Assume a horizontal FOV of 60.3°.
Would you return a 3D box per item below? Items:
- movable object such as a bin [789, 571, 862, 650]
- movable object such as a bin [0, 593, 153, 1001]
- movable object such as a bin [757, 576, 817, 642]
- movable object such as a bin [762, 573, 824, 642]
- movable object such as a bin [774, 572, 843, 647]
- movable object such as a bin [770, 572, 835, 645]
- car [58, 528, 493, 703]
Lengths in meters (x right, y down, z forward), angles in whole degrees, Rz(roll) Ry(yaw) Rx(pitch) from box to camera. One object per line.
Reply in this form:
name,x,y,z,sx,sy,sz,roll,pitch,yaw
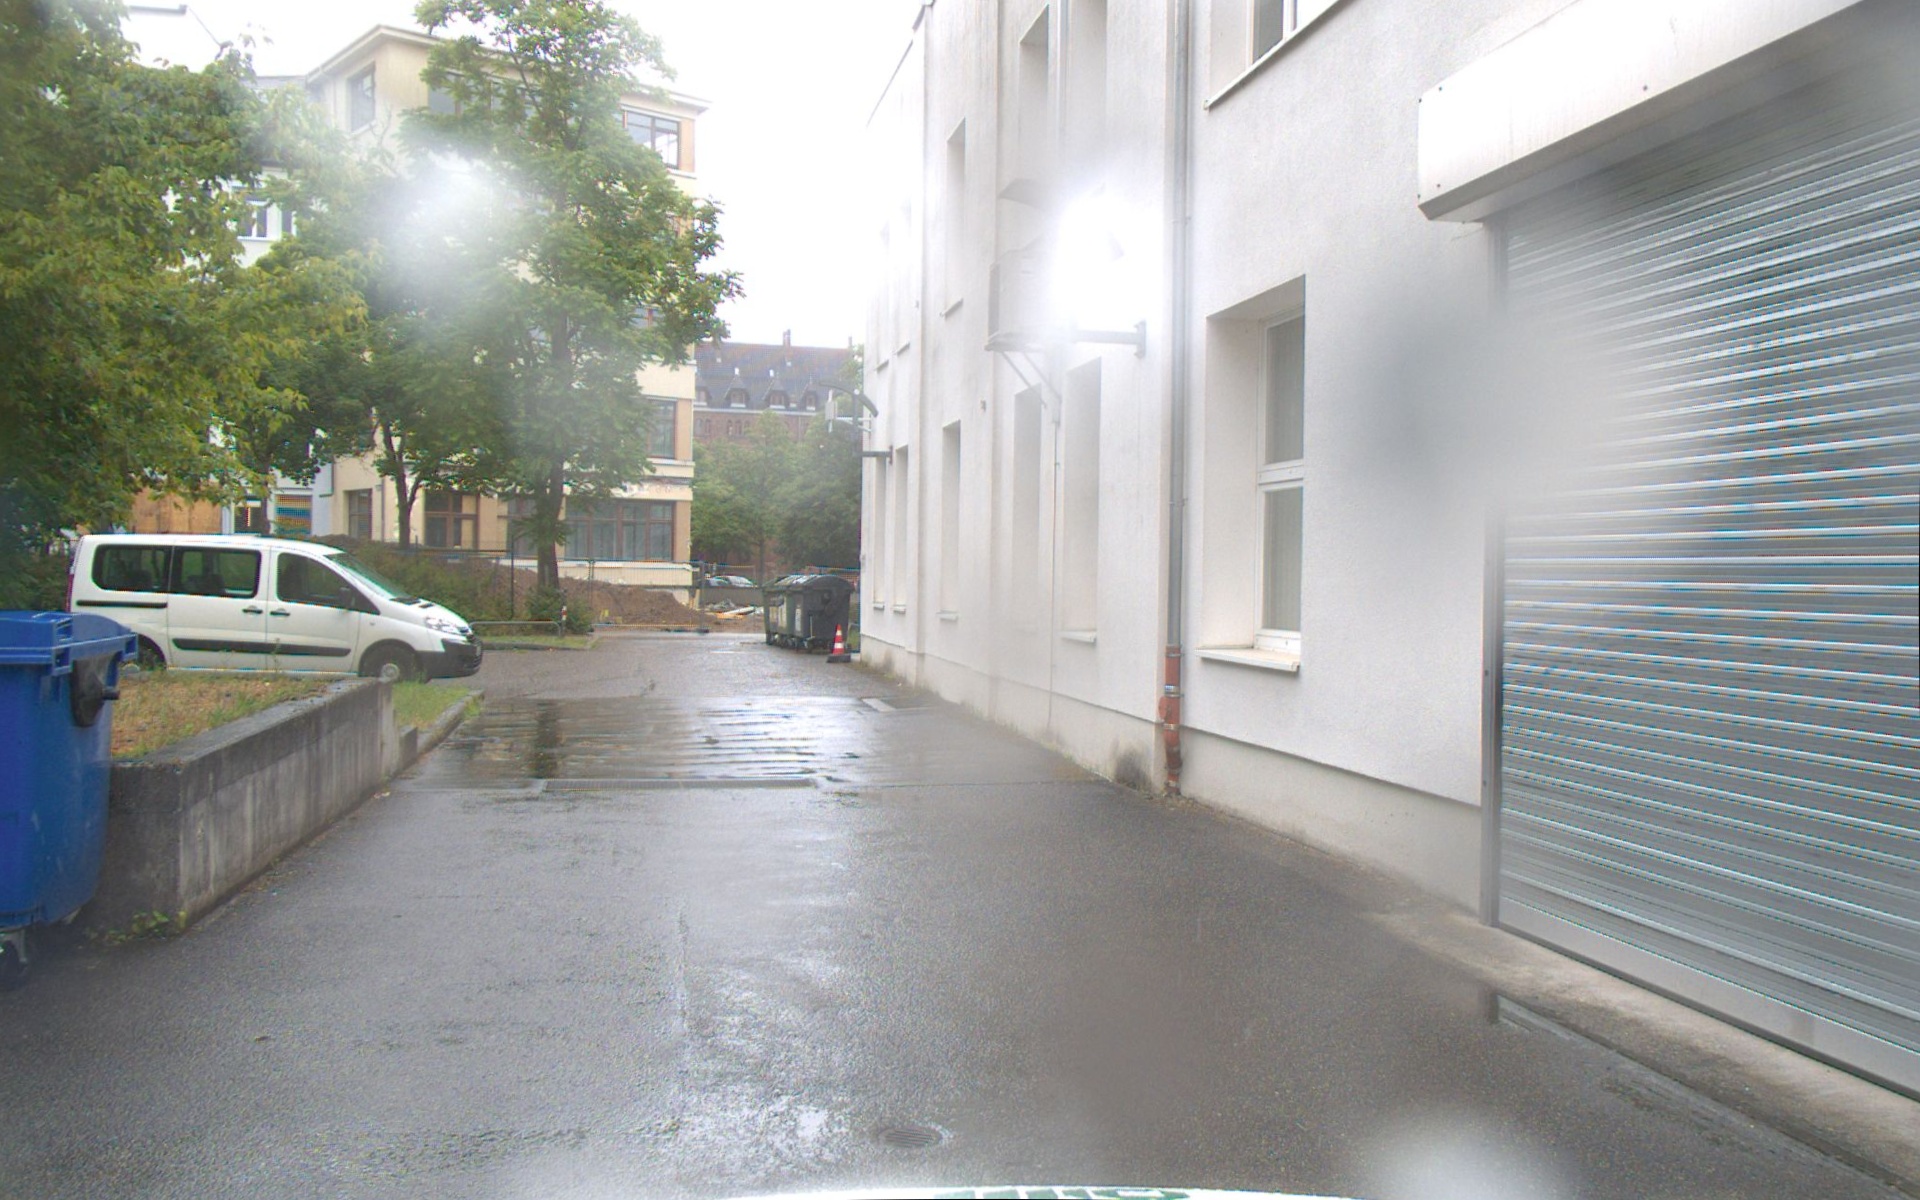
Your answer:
movable object such as a bin,-2.565,0.214,31.427,1.194,1.462,1.231,1,-2,-13
movable object such as a bin,-3.739,0.664,6.022,1.199,1.360,1.004,1,1,-11
movable object such as a bin,-3.922,0.217,37.337,1.193,1.462,1.255,1,-2,-13
movable object such as a bin,-3.636,0.186,35.992,1.193,1.462,1.255,1,-2,-13
movable object such as a bin,-3.041,0.197,33.052,1.193,1.462,1.290,1,-2,-13
movable object such as a bin,-3.313,0.192,34.657,1.194,1.494,1.231,1,-2,-13
car,-8.406,0.150,20.763,4.694,2.048,1.995,0,1,-11
